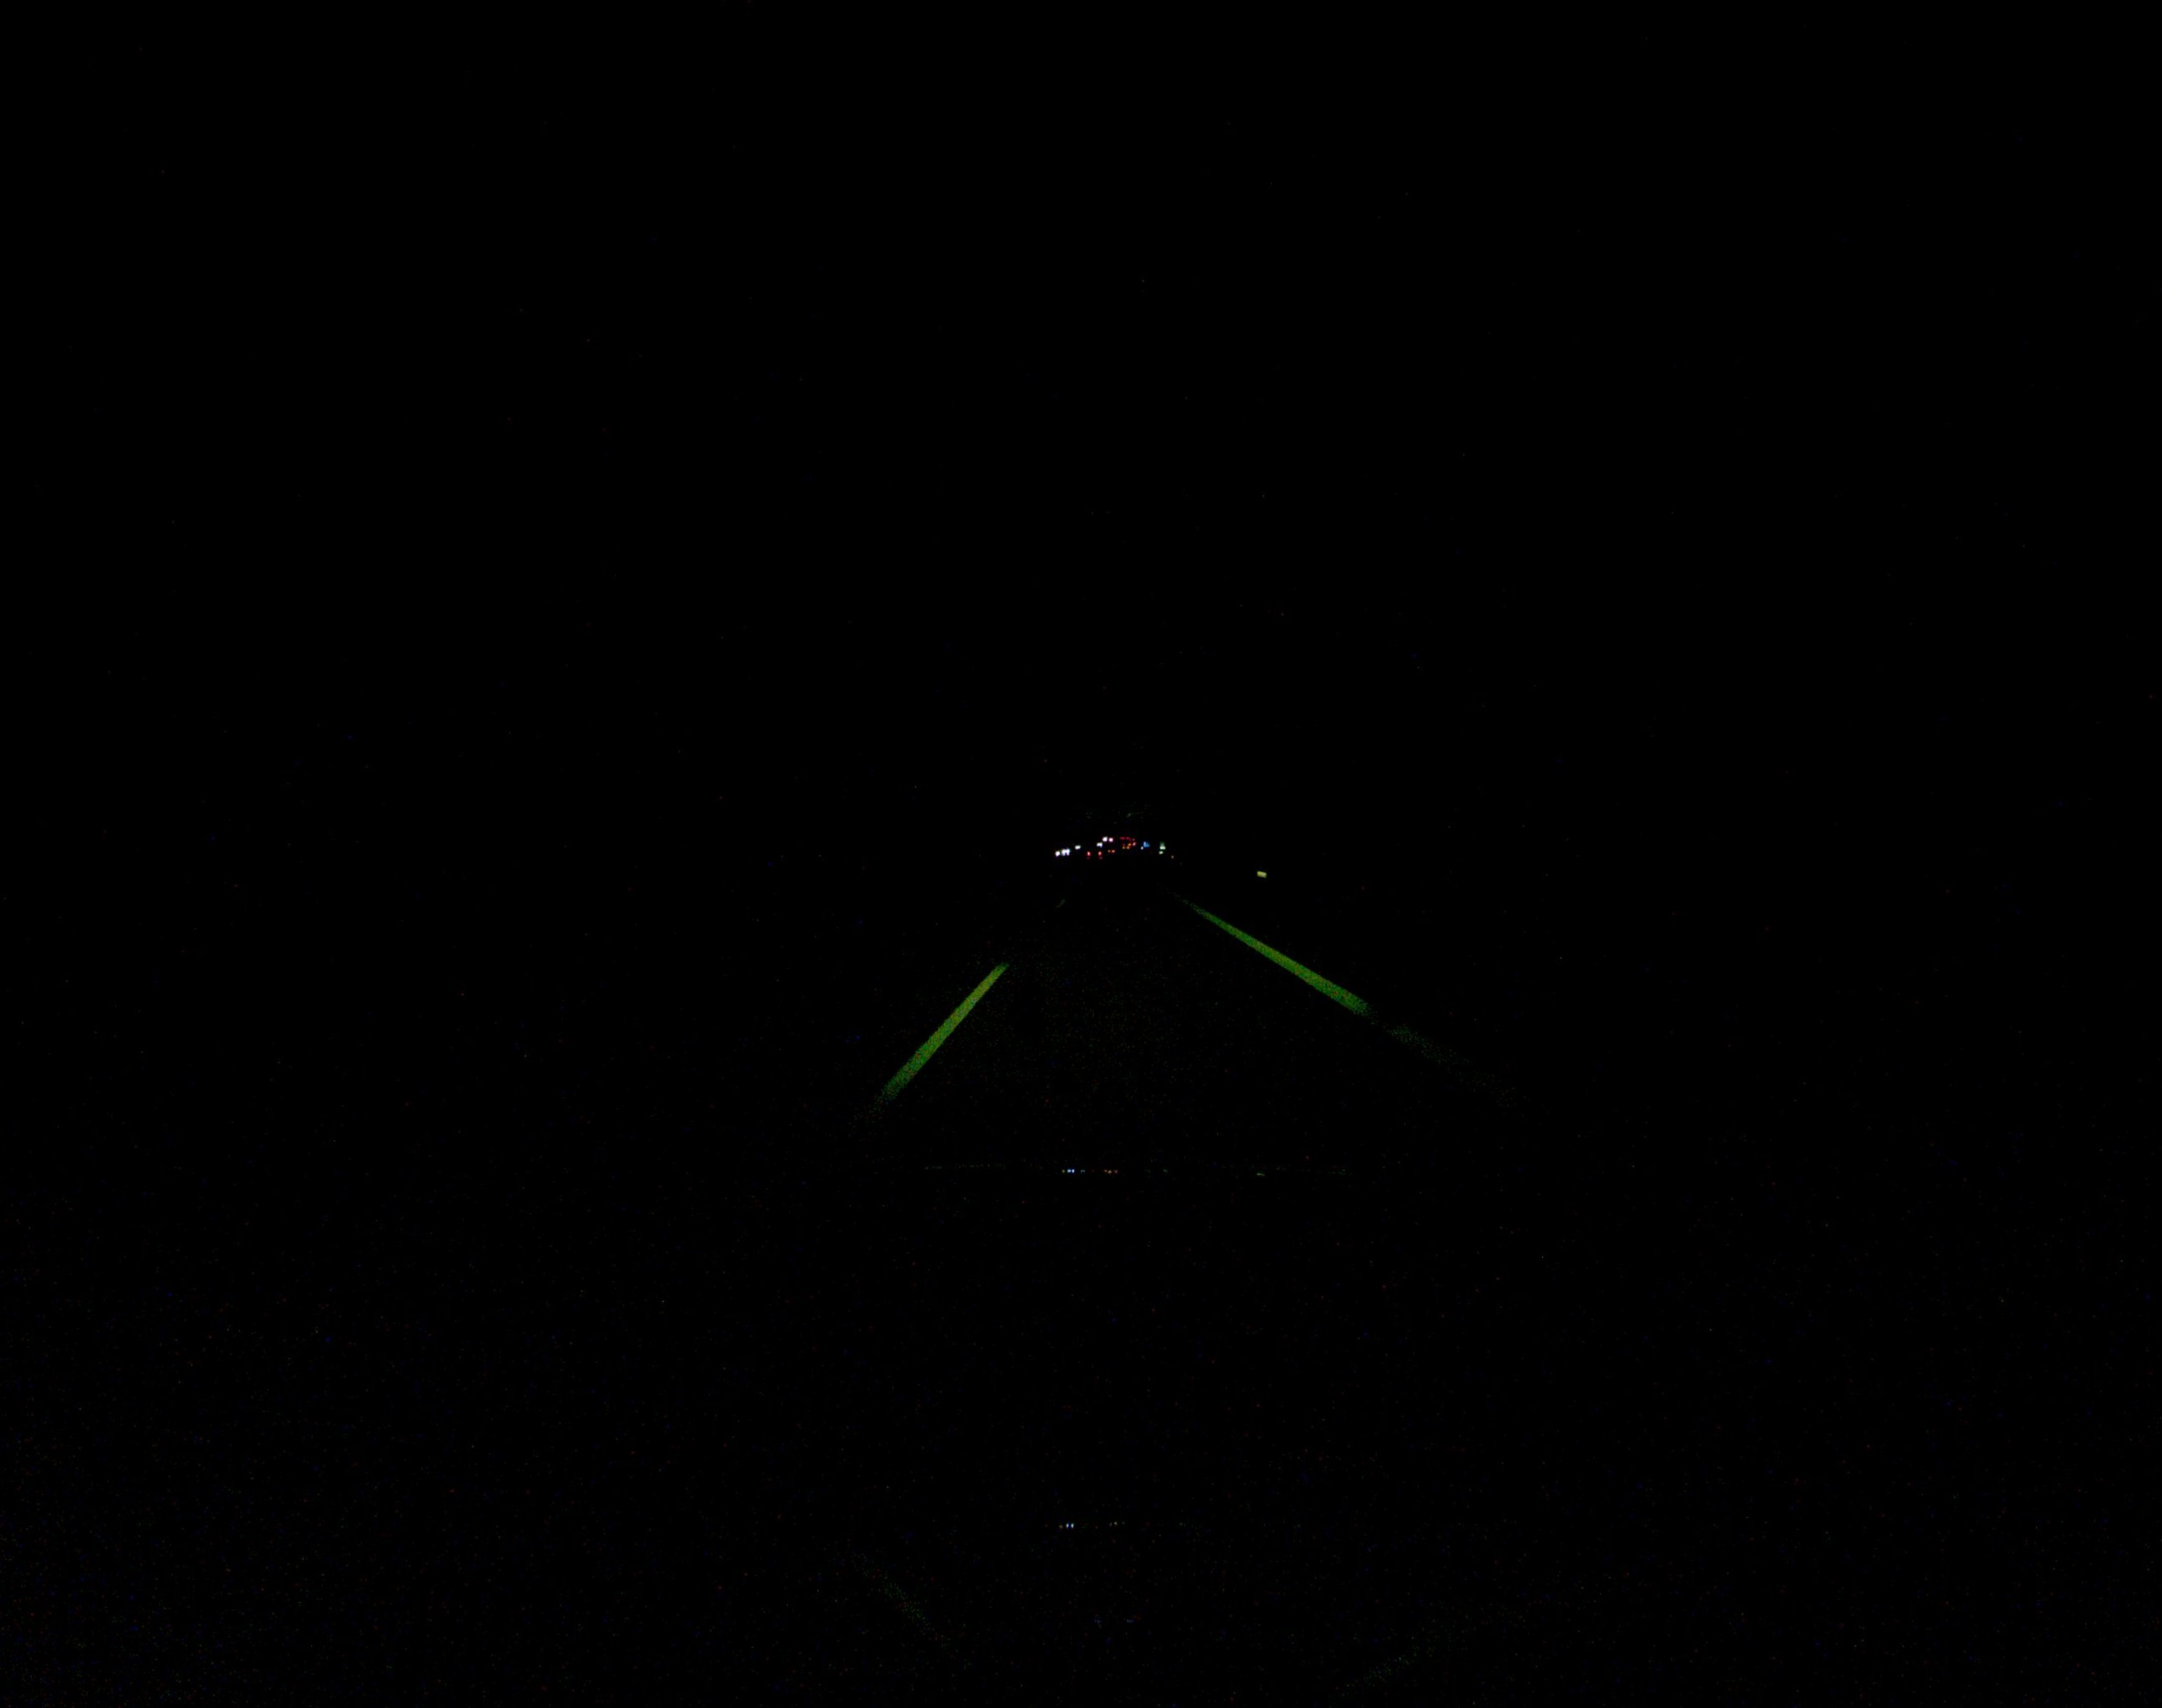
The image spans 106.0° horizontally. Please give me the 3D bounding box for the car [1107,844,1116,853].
[{"bbox_3d":[9.803,-1.801,260.365,2.776,2.733,6.301,-1,-1,1],"label":"car"}]

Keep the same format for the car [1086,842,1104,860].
[{"bbox_3d":[2.260,-0.480,133.358,2.777,2.733,6.299,-1,-1,1],"label":"car"}]
